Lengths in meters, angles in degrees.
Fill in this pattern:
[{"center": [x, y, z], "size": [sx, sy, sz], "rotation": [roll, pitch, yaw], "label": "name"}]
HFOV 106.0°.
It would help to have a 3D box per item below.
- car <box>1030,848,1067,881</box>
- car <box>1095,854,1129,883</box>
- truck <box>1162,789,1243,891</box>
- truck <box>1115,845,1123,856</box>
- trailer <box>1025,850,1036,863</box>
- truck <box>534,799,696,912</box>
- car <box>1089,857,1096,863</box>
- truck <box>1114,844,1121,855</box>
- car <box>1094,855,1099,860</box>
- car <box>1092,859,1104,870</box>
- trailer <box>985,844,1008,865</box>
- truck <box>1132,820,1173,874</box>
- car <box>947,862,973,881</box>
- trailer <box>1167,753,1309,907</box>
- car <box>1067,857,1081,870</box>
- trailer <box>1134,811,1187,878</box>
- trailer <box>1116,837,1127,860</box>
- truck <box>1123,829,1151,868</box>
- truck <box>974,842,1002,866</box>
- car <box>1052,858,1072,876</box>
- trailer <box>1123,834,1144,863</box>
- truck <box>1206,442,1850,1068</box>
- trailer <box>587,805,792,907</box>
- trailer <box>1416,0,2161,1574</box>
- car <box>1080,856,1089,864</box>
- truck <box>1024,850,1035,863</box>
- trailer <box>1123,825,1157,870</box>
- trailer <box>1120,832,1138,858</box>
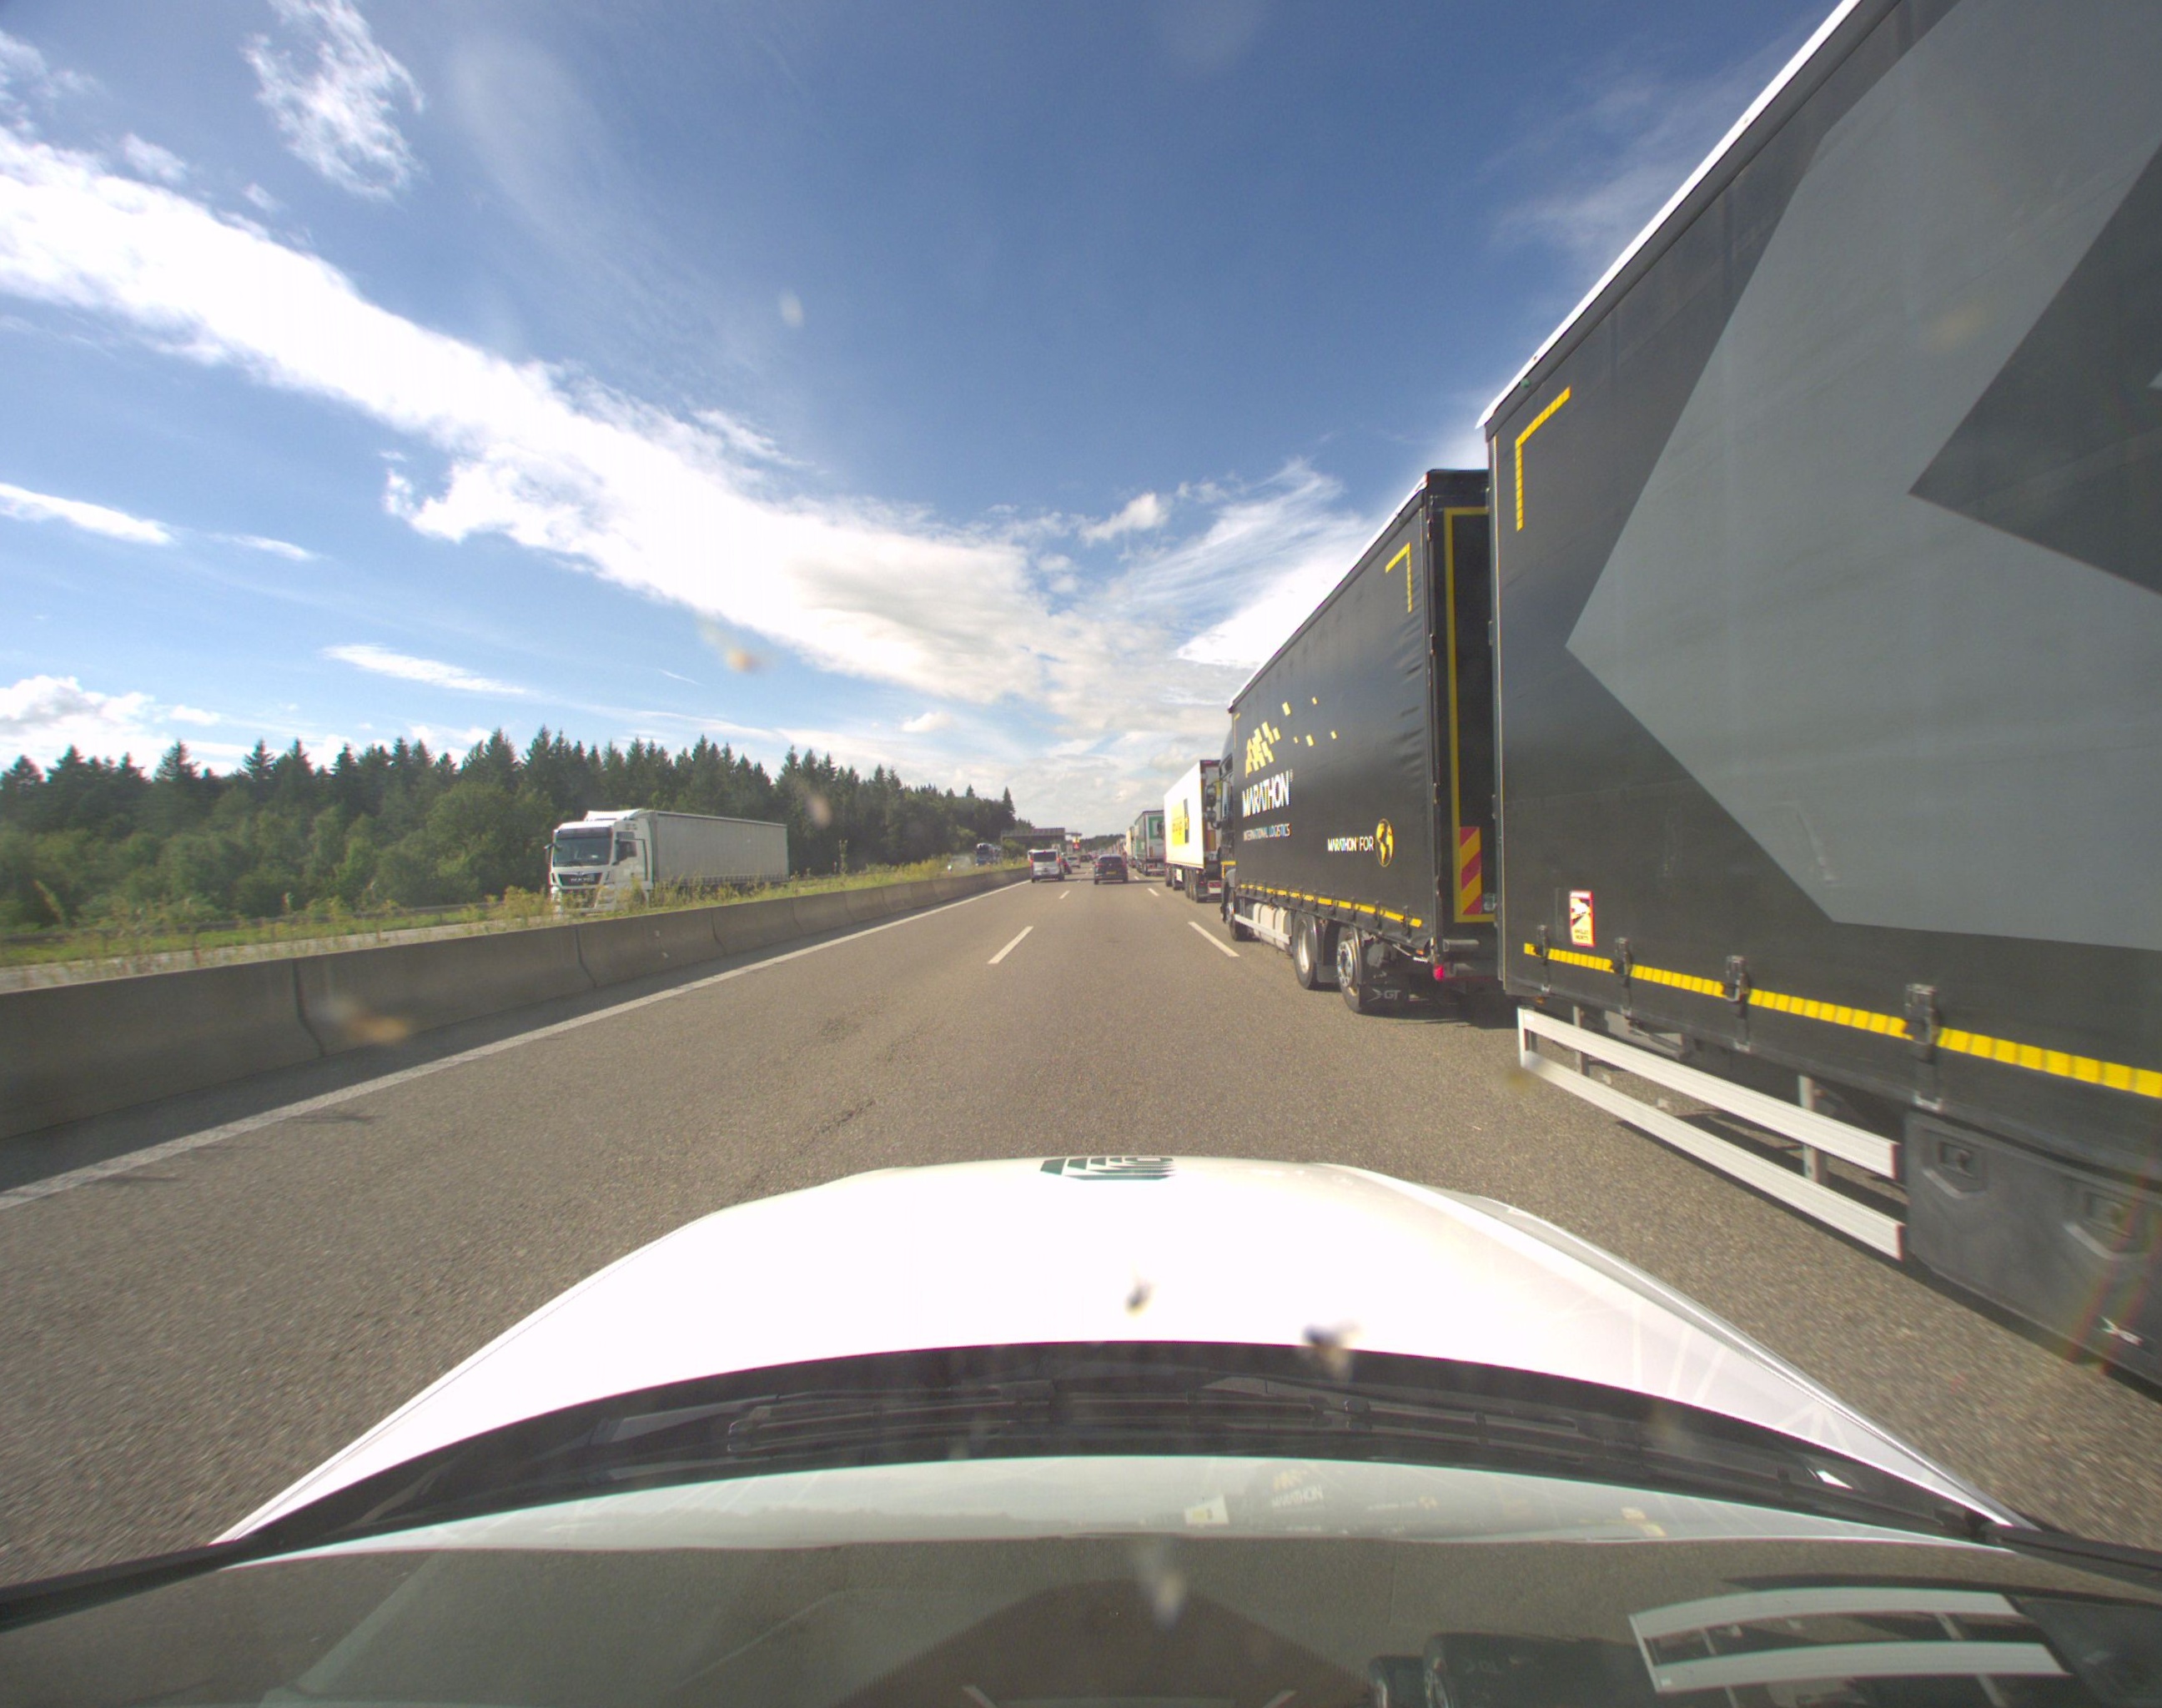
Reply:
[{"center": [-2.002, 0.663, 51.619], "size": [1.925, 1.979, 5.100], "rotation": [1, 0, 2], "label": "car"}, {"center": [1.649, 0.764, 43.663], "size": [1.690, 1.483, 4.161], "rotation": [1, 0, 2], "label": "car"}, {"center": [5.096, -0.537, 35.071], "size": [2.791, 3.939, 5.829], "rotation": [-1, 0, 2], "label": "truck"}, {"center": [9.793, -0.882, 210.197], "size": [1.985, 2.932, 4.984], "rotation": [1, 0, 2], "label": "truck"}, {"center": [-13.269, 0.682, 214.040], "size": [2.314, 3.284, 10.873], "rotation": [-1, 0, 0], "label": "trailer"}, {"center": [-18.165, 0.063, 32.257], "size": [2.809, 3.976, 5.835], "rotation": [-2, 0, 2], "label": "truck"}, {"center": [2.332, 1.208, 167.846], "size": [1.429, 1.310, 3.534], "rotation": [1, 0, 1], "label": "car"}, {"center": [10.532, -1.283, 237.150], "size": [1.985, 3.052, 4.984], "rotation": [1, 0, 2], "label": "truck"}, {"center": [4.219, 0.930, 225.741], "size": [1.356, 1.301, 3.086], "rotation": [1, 0, 2], "label": "car"}, {"center": [2.258, 1.352, 106.699], "size": [1.575, 1.396, 3.208], "rotation": [1, 0, 1], "label": "car"}, {"center": [-14.706, 0.093, 142.419], "size": [2.788, 3.528, 8.956], "rotation": [-2, 0, 1], "label": "trailer"}, {"center": [5.431, -0.482, 62.639], "size": [2.637, 3.869, 6.999], "rotation": [-2, 0, 2], "label": "truck"}, {"center": [-12.479, 1.773, 84.364], "size": [1.871, 1.876, 4.492], "rotation": [1, 0, 2], "label": "car"}, {"center": [4.766, -0.578, 27.699], "size": [2.780, 3.939, 13.078], "rotation": [-1, 0, 3], "label": "trailer"}, {"center": [-0.779, 1.068, 94.331], "size": [1.494, 1.396, 3.477], "rotation": [1, 0, 2], "label": "car"}, {"center": [5.171, -0.534, 55.520], "size": [2.651, 3.869, 13.401], "rotation": [-2, 0, 2], "label": "trailer"}, {"center": [8.168, -1.057, 164.674], "size": [2.141, 4.259, 8.445], "rotation": [-2, 0, 2], "label": "trailer"}, {"center": [6.116, -0.563, 89.837], "size": [2.698, 4.059, 6.364], "rotation": [-3, -1, 2], "label": "truck"}, {"center": [-14.991, -0.010, 132.359], "size": [2.821, 3.689, 11.135], "rotation": [-2, 0, 1], "label": "truck"}, {"center": [-1.584, 1.081, 68.683], "size": [1.494, 1.396, 3.477], "rotation": [1, 0, 2], "label": "car"}, {"center": [7.231, -0.687, 112.764], "size": [2.531, 3.653, 10.632], "rotation": [-2, 0, 2], "label": "trailer"}, {"center": [3.679, -0.625, 10.387], "size": [2.731, 4.038, 10.204], "rotation": [-1, 0, 1], "label": "truck"}, {"center": [-17.936, 0.113, 39.073], "size": [2.821, 3.992, 13.554], "rotation": [-1, 0, 2], "label": "trailer"}, {"center": [3.440, -0.573, 0.911], "size": [2.706, 3.960, 8.714], "rotation": [-1, 0, 2], "label": "trailer"}, {"center": [0.628, 1.035, 145.573], "size": [1.429, 1.310, 3.534], "rotation": [1, 0, 1], "label": "car"}, {"center": [-13.231, 0.686, 209.739], "size": [2.311, 3.274, 6.102], "rotation": [-1, 0, -1], "label": "truck"}, {"center": [5.867, -0.599, 82.788], "size": [2.692, 4.081, 12.950], "rotation": [-3, 0, 2], "label": "trailer"}, {"center": [8.338, -1.464, 141.679], "size": [2.791, 4.244, 11.064], "rotation": [-3, -1, 3], "label": "trailer"}]
